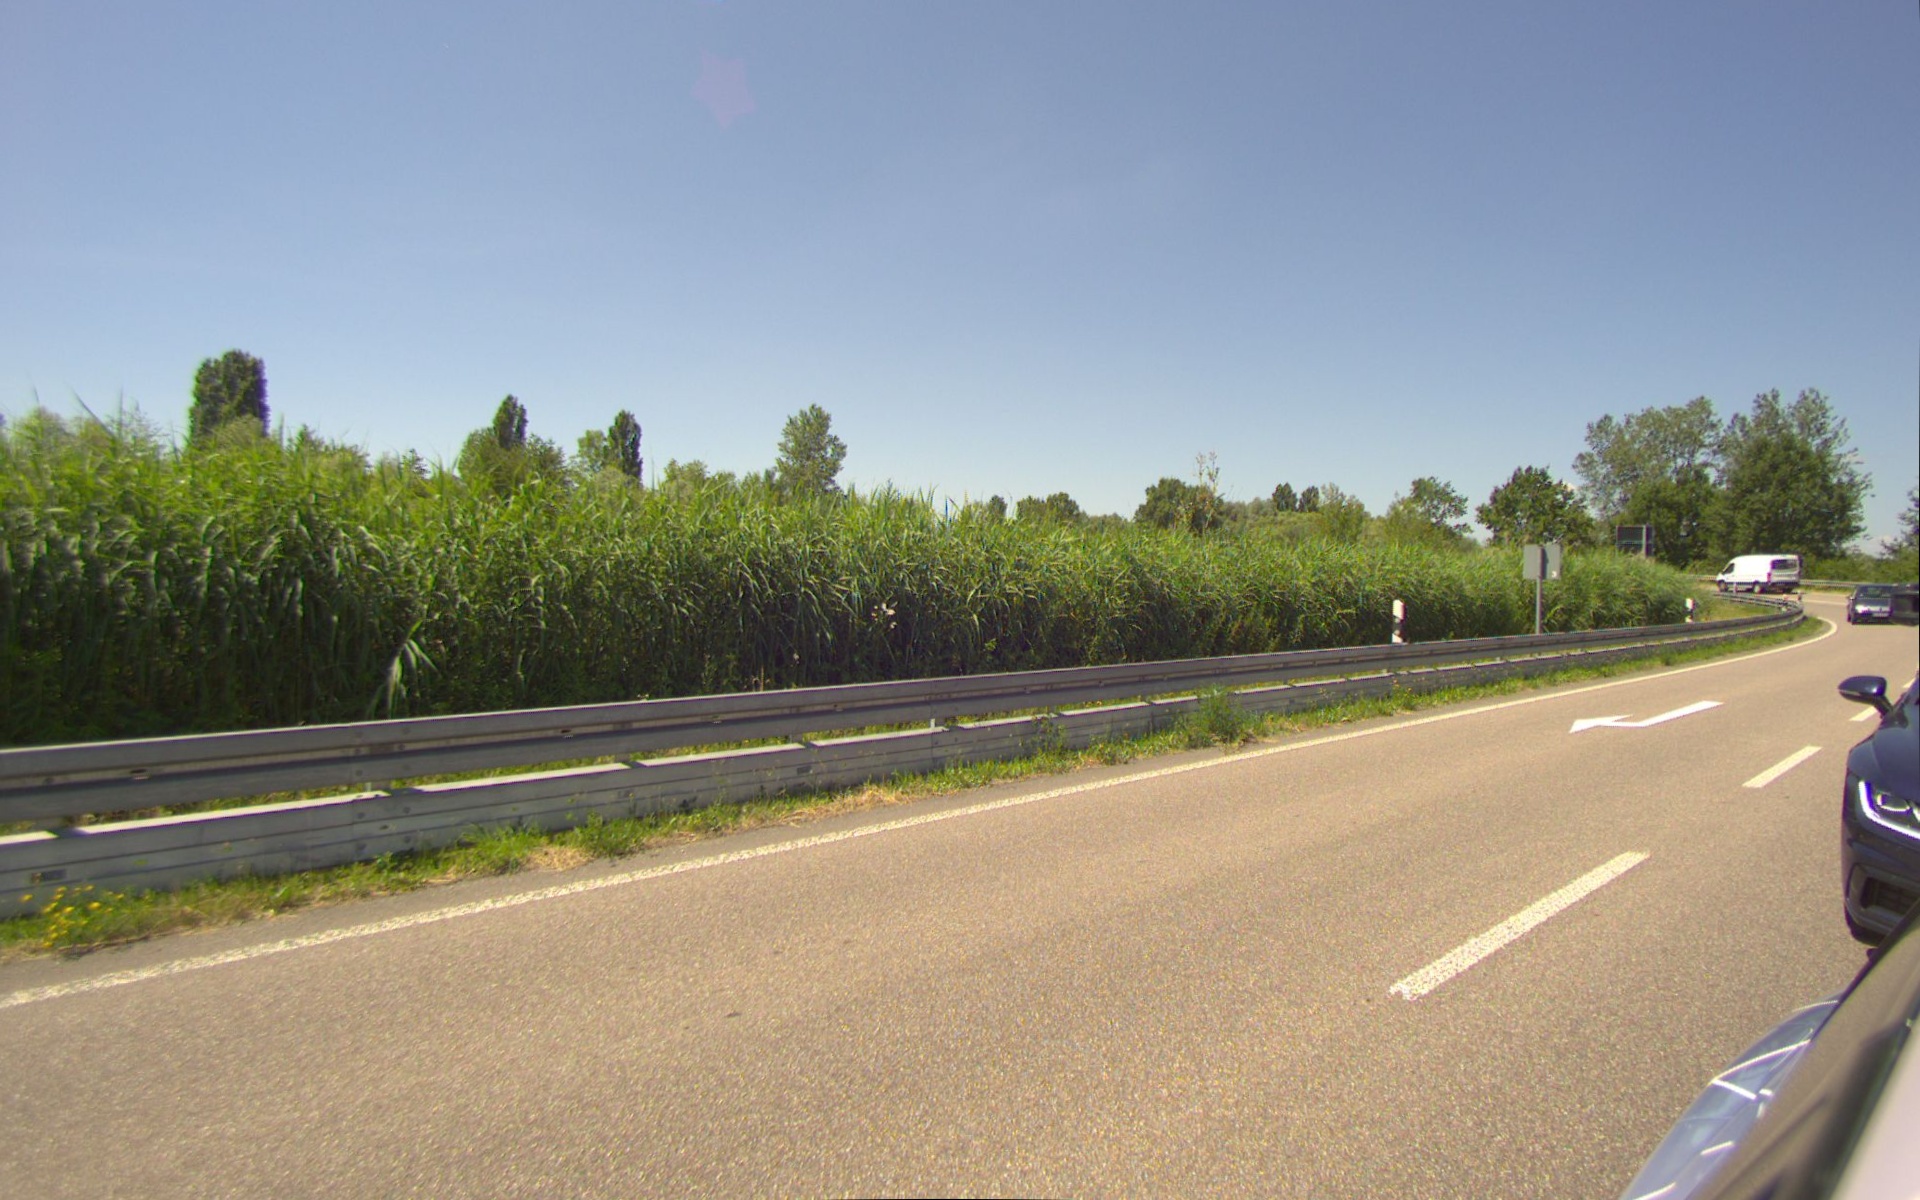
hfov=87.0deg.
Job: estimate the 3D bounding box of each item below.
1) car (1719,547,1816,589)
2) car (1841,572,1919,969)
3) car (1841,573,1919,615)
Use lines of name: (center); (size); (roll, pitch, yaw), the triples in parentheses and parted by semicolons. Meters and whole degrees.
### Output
car: (53.072, -2.051, 66.695); (1.964, 2.447, 5.585); (-4, 0, 3)
car: (5.658, 0.622, 4.674); (4.338, 1.481, 1.818); (-1, 1, -41)
car: (37.312, -0.249, 41.042); (1.659, 1.620, 3.517); (0, 1, 29)
